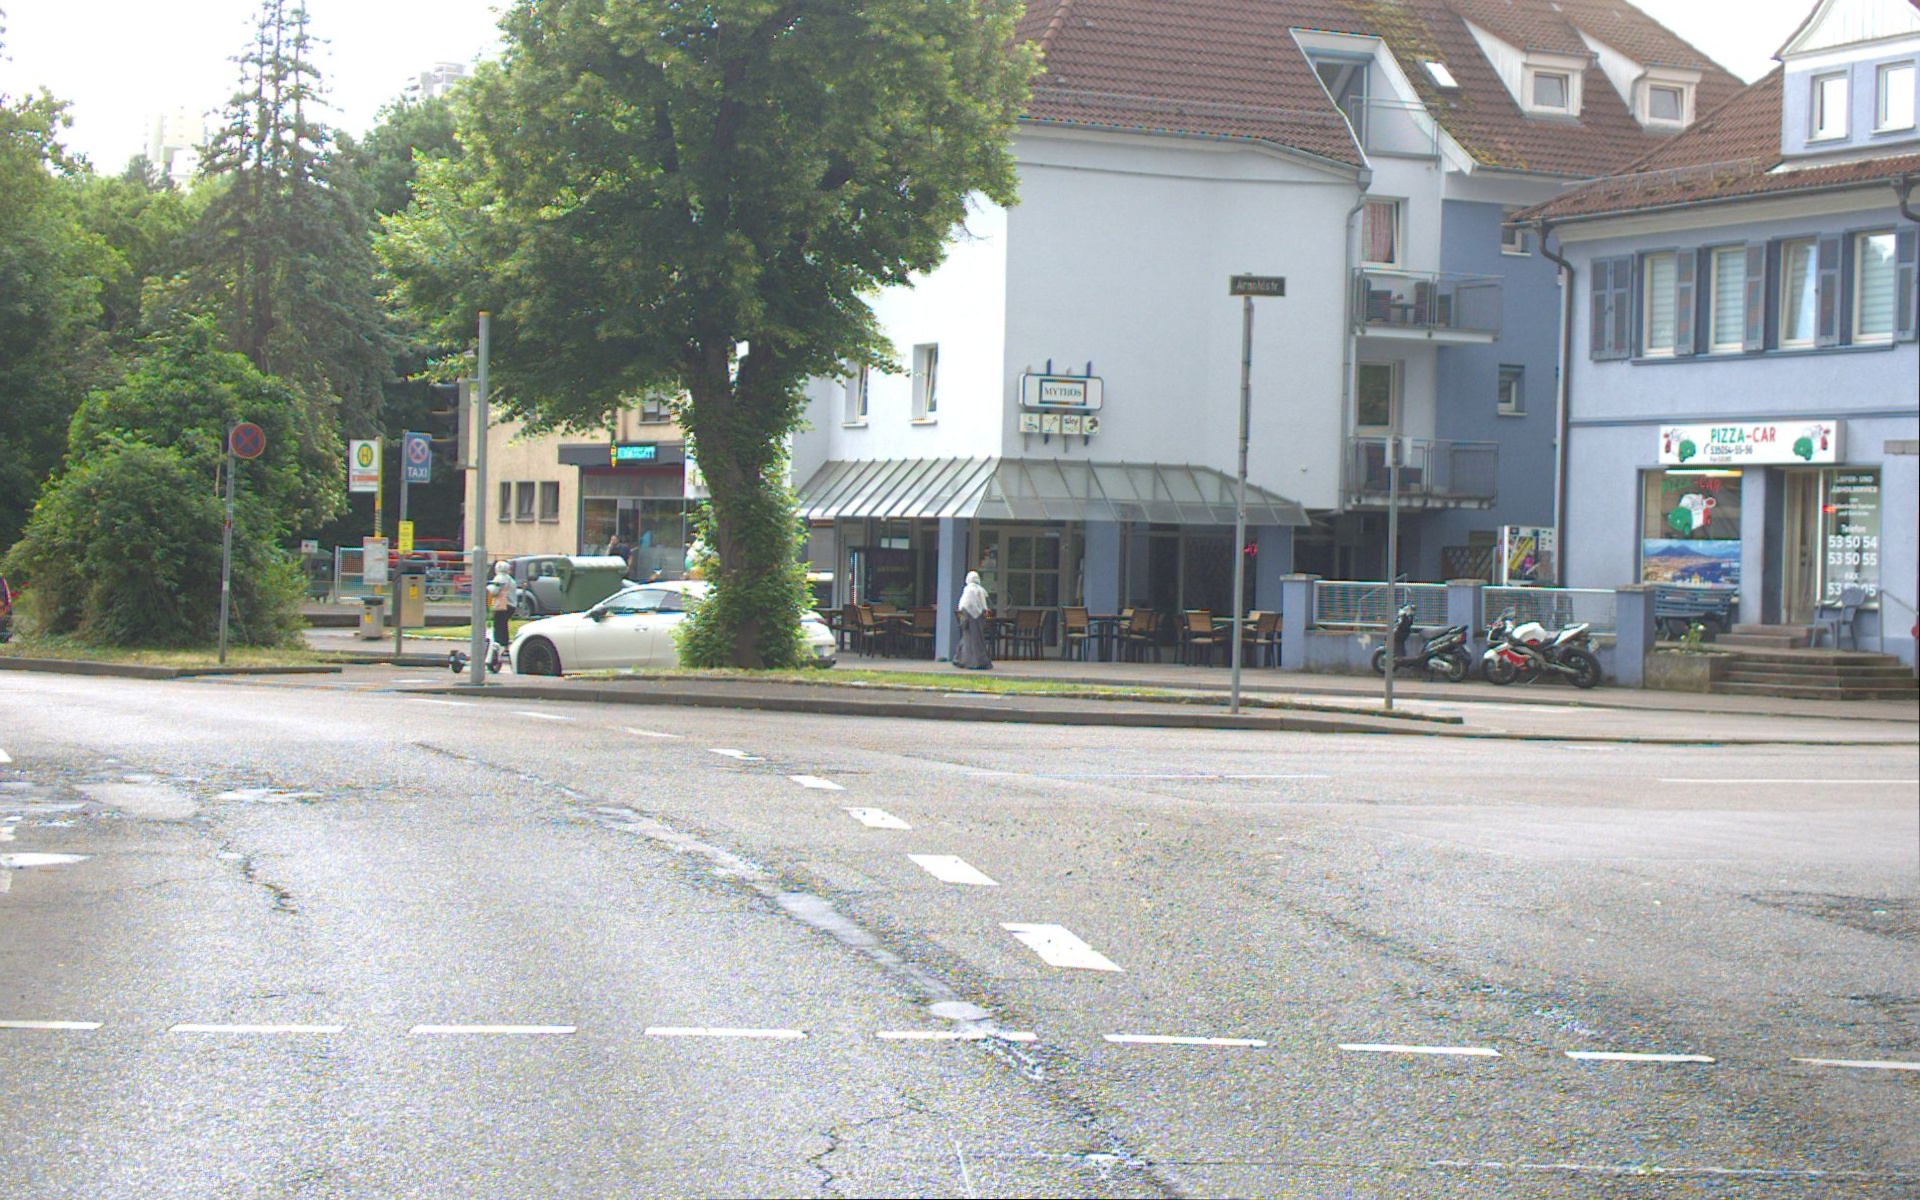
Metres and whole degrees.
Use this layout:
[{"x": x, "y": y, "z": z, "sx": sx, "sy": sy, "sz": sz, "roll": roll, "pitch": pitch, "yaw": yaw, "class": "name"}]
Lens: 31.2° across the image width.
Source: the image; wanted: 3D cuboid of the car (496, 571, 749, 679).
[{"x": -4.535, "y": 0.318, "z": 46.042, "sx": 3.171, "sy": 1.350, "sz": 1.436, "roll": 2, "pitch": 1, "yaw": 35, "class": "car"}]

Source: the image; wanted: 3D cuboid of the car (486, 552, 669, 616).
[{"x": -8.430, "y": -0.360, "z": 75.871, "sx": 3.733, "sy": 1.340, "sz": 1.434, "roll": 1, "pitch": 1, "yaw": -26, "class": "car"}]

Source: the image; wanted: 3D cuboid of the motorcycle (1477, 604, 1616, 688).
[{"x": 8.253, "y": 0.636, "z": 48.379, "sx": 1.798, "sy": 1.118, "sz": 0.693, "roll": 2, "pitch": 1, "yaw": 38, "class": "motorcycle"}]

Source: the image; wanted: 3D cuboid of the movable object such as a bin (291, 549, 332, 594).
[{"x": -16.251, "y": -0.724, "z": 86.166, "sx": 0.950, "sy": 1.111, "sz": 0.383, "roll": 1, "pitch": 1, "yaw": -21, "class": "movable object such as a bin"}]

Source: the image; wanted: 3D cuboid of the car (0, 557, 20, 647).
[{"x": -16.518, "y": -0.009, "z": 53.721, "sx": 3.590, "sy": 1.389, "sz": 1.469, "roll": 2, "pitch": 1, "yaw": 32, "class": "car"}]

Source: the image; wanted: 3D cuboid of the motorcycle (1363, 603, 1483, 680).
[{"x": 6.747, "y": 0.598, "z": 50.158, "sx": 1.636, "sy": 1.060, "sz": 0.693, "roll": 2, "pitch": 1, "yaw": 44, "class": "motorcycle"}]

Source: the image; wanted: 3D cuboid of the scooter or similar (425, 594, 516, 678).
[{"x": -6.063, "y": 0.434, "z": 42.648, "sx": 0.417, "sy": 1.008, "sz": 1.565, "roll": 1, "pitch": 1, "yaw": 20, "class": "scooter or similar"}]

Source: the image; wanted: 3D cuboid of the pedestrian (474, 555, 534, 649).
[{"x": -7.621, "y": 0.034, "z": 57.461, "sx": 0.707, "sy": 1.539, "sz": 0.677, "roll": 2, "pitch": 1, "yaw": 40, "class": "pedestrian"}]

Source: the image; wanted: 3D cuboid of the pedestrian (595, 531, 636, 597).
[{"x": -8.027, "y": -0.839, "z": 80.077, "sx": 0.676, "sy": 1.539, "sz": 0.708, "roll": 1, "pitch": 1, "yaw": -34, "class": "pedestrian"}]

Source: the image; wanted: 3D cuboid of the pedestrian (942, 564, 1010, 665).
[{"x": 0.250, "y": 0.225, "z": 53.150, "sx": 0.768, "sy": 1.539, "sz": 0.677, "roll": 1, "pitch": 1, "yaw": 39, "class": "pedestrian"}]

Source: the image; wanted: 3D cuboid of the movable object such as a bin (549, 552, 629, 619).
[{"x": -7.987, "y": -0.318, "z": 73.973, "sx": 1.440, "sy": 1.404, "sz": 0.967, "roll": 1, "pitch": 1, "yaw": -27, "class": "movable object such as a bin"}]
